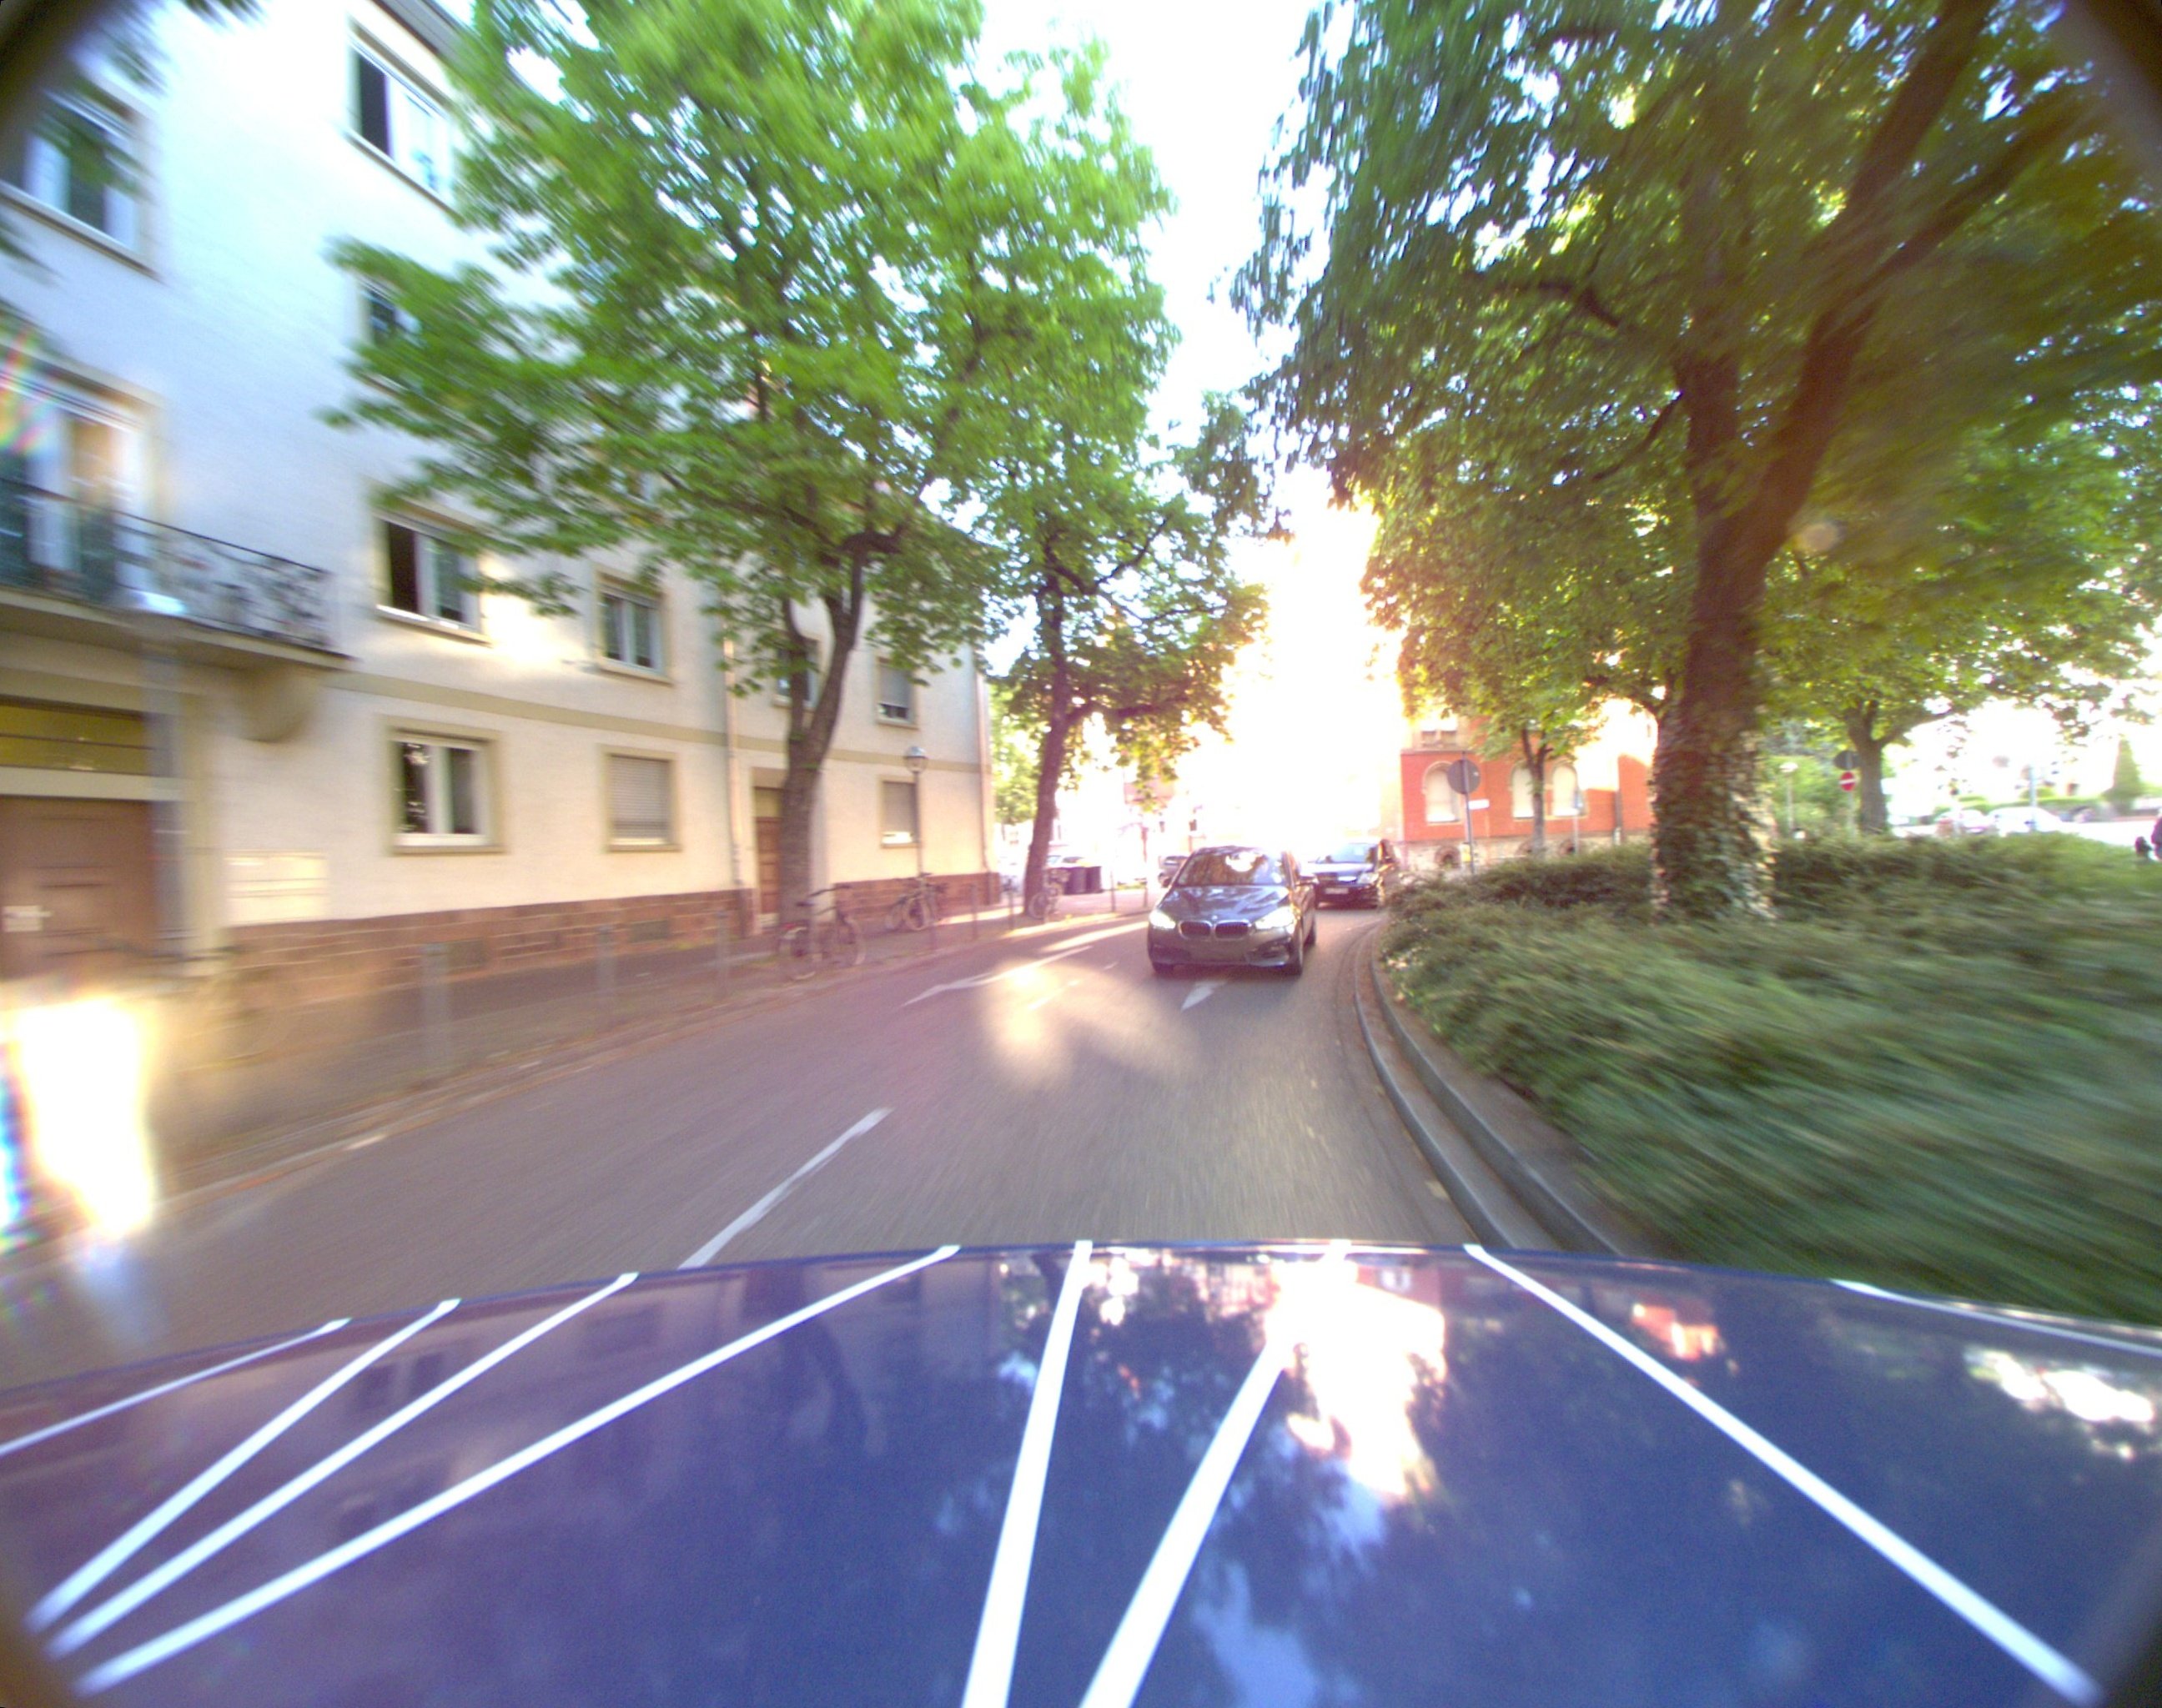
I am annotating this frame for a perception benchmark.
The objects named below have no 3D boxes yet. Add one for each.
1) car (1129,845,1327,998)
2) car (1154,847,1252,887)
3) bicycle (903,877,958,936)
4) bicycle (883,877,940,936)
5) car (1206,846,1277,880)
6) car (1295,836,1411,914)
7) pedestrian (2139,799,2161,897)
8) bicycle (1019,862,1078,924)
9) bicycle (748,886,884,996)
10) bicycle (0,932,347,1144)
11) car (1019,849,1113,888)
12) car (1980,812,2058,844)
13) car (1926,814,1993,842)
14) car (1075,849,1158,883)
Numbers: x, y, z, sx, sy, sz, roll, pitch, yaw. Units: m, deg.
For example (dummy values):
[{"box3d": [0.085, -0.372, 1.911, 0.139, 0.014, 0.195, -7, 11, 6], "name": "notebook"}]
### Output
[{"box3d": [2.218, 0.720, 10.328, 1.790, 1.569, 4.267, -2, 1, 22], "name": "car"}, {"box3d": [5.091, 0.567, 32.182, 1.699, 1.543, 4.042, -3, 0, -35], "name": "car"}, {"box3d": [-3.115, 1.061, 15.875, 0.334, 1.087, 1.638, -3, 0, 17], "name": "bicycle"}, {"box3d": [-3.493, 1.071, 15.809, 0.334, 1.087, 1.638, -3, 0, 17], "name": "bicycle"}, {"box3d": [7.856, 0.447, 37.374, 1.495, 1.531, 3.207, -2, 0, -36], "name": "car"}, {"box3d": [6.558, 0.441, 18.092, 1.676, 1.619, 3.694, -3, 0, 34], "name": "car"}, {"box3d": [16.204, -0.106, 11.107, 0.708, 1.435, 0.601, -3, 1, 41], "name": "pedestrian"}, {"box3d": [-0.726, 0.867, 17.620, 0.766, 1.297, 1.905, -2, 0, 15], "name": "bicycle"}, {"box3d": [-3.448, 1.092, 10.102, 0.718, 1.216, 1.916, -2, 0, 14], "name": "bicycle"}, {"box3d": [-6.759, 1.258, 5.690, 0.803, 1.112, 1.857, -3, 0, -7], "name": "bicycle"}, {"box3d": [-0.613, 0.597, 32.658, 3.811, 1.417, 1.672, -3, 0, -43], "name": "car"}, {"box3d": [46.388, -1.313, 37.657, 1.732, 1.409, 4.007, -3, 0, 41], "name": "car"}, {"box3d": [51.061, -1.547, 44.262, 1.732, 1.409, 4.006, -3, 2, 37], "name": "car"}, {"box3d": [1.690, 0.632, 37.517, 1.809, 1.543, 4.176, -3, 0, -35], "name": "car"}]
